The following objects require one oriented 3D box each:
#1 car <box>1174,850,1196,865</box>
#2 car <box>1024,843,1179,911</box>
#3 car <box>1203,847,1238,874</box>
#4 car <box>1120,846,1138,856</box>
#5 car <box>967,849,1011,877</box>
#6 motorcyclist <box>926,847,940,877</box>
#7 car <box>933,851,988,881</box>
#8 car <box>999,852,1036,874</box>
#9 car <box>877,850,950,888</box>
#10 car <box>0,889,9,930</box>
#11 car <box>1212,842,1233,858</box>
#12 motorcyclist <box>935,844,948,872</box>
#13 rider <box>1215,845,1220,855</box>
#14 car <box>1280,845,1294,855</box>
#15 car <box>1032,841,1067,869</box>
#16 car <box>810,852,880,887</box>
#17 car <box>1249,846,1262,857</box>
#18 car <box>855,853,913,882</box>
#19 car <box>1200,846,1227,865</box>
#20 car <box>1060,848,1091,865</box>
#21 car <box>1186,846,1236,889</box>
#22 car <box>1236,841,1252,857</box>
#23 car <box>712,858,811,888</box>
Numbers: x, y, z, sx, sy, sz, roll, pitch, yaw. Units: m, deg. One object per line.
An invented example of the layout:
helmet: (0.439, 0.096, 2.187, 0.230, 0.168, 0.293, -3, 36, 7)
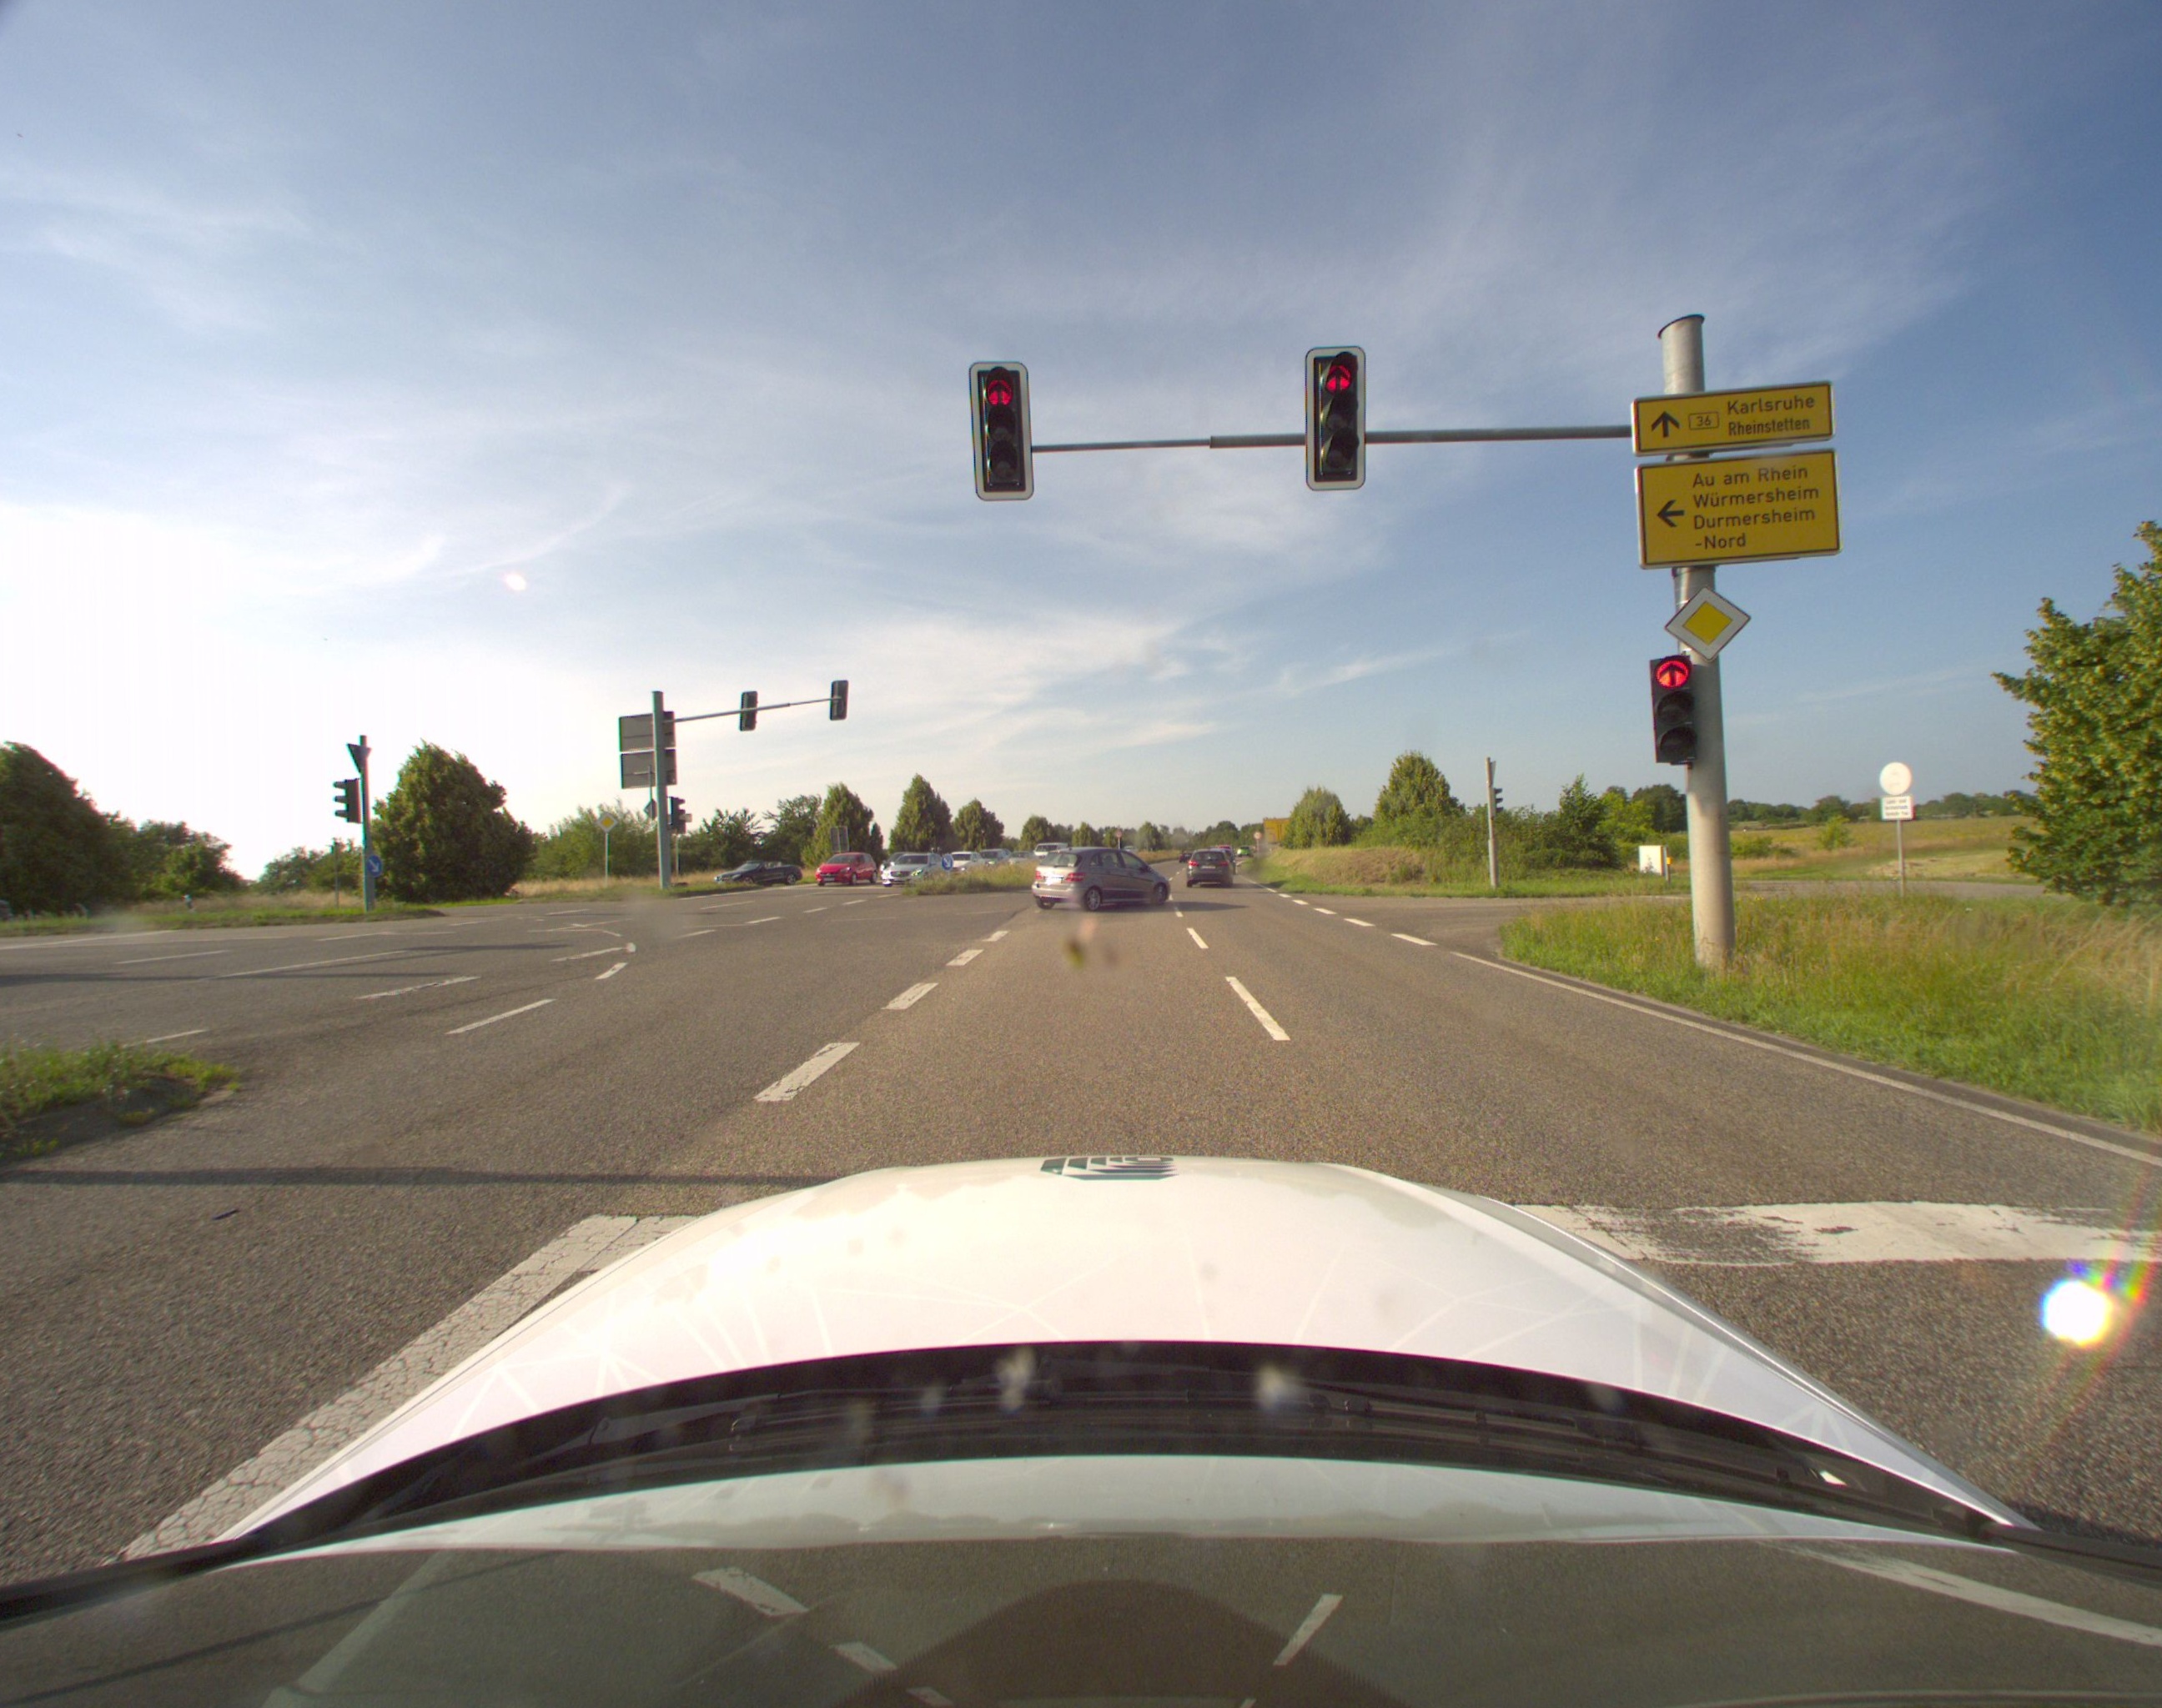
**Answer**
car: (9.900, 0.341, 77.302, 1.897, 1.323, 4.289, -1, -1, 10)
car: (0.634, 0.576, 21.600, 1.767, 1.605, 4.221, -2, -2, 42)
car: (8.157, 0.351, 47.433, 1.760, 1.492, 3.999, -1, 0, 13)
car: (7.075, -0.462, 118.690, 1.772, 1.385, 4.068, -2, 0, 16)
car: (-5.561, 0.523, 49.899, 1.777, 1.568, 4.058, -2, 0, 6)
motorcyclist: (-9.010, 0.481, 49.614, 0.660, 1.747, 0.605, -2, 0, -1)
car: (-6.388, 0.606, 43.607, 1.777, 1.433, 4.317, -2, 0, 6)
car: (-4.323, 0.571, 56.073, 1.777, 1.385, 4.058, -2, 0, 6)
car: (-7.309, 0.613, 35.976, 1.777, 1.488, 4.659, -2, 0, 6)
car: (-36.370, 1.845, 24.739, 4.666, 1.292, 1.434, -2, 0, -15)
car: (14.710, -0.370, 84.679, 1.882, 1.565, 4.292, -1, -1, 12)
motorcyclist: (-9.051, 0.266, 52.840, 0.660, 1.817, 0.605, -2, 0, -1)
rider: (27.028, -0.828, 161.574, 0.861, 2.013, 0.775, -2, 0, 17)
car: (37.847, -0.770, 149.664, 1.898, 1.734, 4.286, -1, -1, 7)
car: (-2.500, 0.087, 65.382, 1.913, 2.078, 4.255, -2, 0, 10)
car: (-10.865, 0.667, 37.748, 1.711, 1.488, 3.812, -2, 0, 7)
car: (28.858, -0.448, 134.679, 1.896, 1.734, 4.292, -1, -1, 13)
car: (-10.778, 0.723, 44.920, 1.777, 1.433, 4.058, -2, 0, 6)
car: (10.524, 0.139, 64.932, 1.905, 1.416, 3.802, -1, -1, 6)
car: (-0.461, 0.222, 74.758, 1.772, 1.385, 4.068, -2, 0, 16)
car: (5.320, 0.505, 32.938, 1.798, 1.565, 4.545, -1, 0, 11)
car: (20.471, -0.613, 102.385, 1.897, 1.800, 4.289, -1, -1, 10)
car: (-15.744, 0.889, 40.423, 1.705, 1.282, 4.690, -2, 0, 24)
